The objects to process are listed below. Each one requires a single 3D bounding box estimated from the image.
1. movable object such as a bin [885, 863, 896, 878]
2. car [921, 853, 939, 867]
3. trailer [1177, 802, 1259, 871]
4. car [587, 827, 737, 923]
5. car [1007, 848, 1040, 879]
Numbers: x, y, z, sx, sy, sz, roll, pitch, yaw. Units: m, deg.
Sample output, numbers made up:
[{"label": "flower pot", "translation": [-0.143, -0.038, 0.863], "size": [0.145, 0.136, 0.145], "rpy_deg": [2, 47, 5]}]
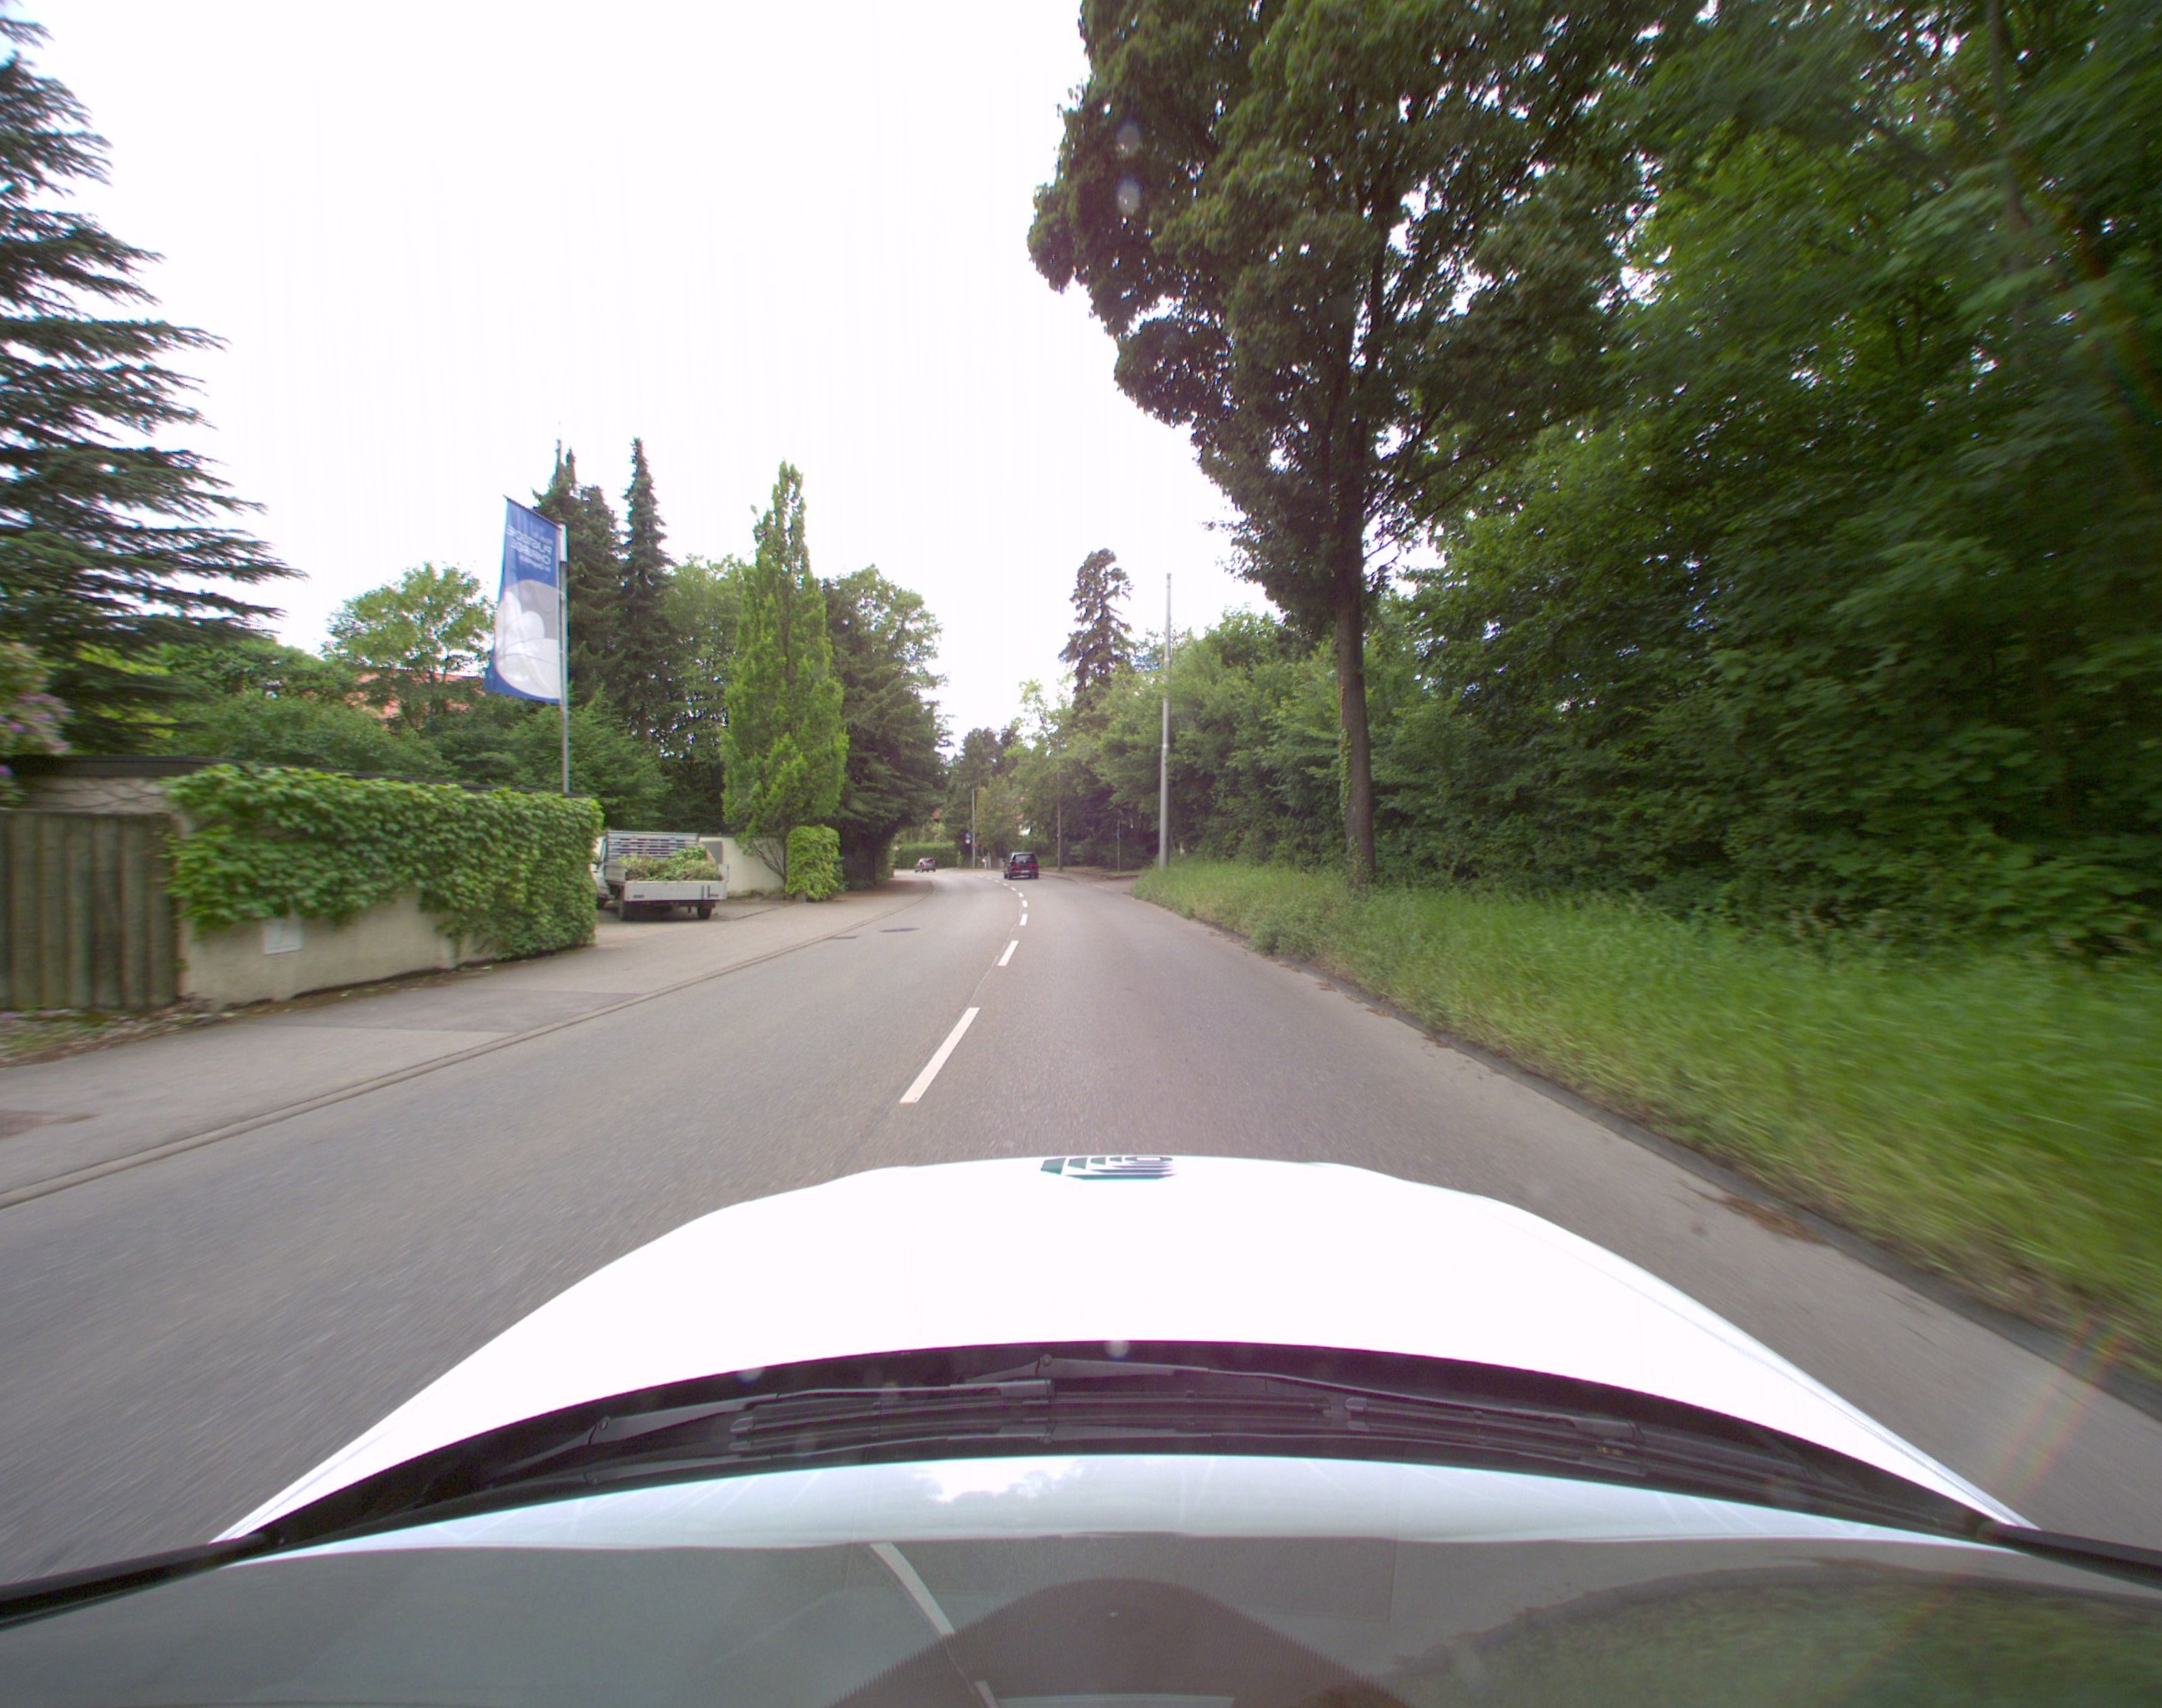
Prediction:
[{"label": "movable object such as a bin", "translation": [-14.489, 1.286, 61.971], "size": [0.742, 1.141, 0.643], "rpy_deg": [1, -1, -16]}, {"label": "car", "translation": [-17.710, 0.682, 95.445], "size": [1.996, 1.618, 3.983], "rpy_deg": [-1, 1, -13]}, {"label": "trailer", "translation": [6.025, -0.770, 35.973], "size": [3.117, 2.899, 1.587], "rpy_deg": [-2, 0, -10]}, {"label": "car", "translation": [-10.650, 0.461, 20.474], "size": [2.438, 2.073, 5.301], "rpy_deg": [0, 0, -38]}, {"label": "car", "translation": [-3.724, 0.572, 52.093], "size": [1.991, 1.881, 3.993], "rpy_deg": [0, 1, -5]}]
